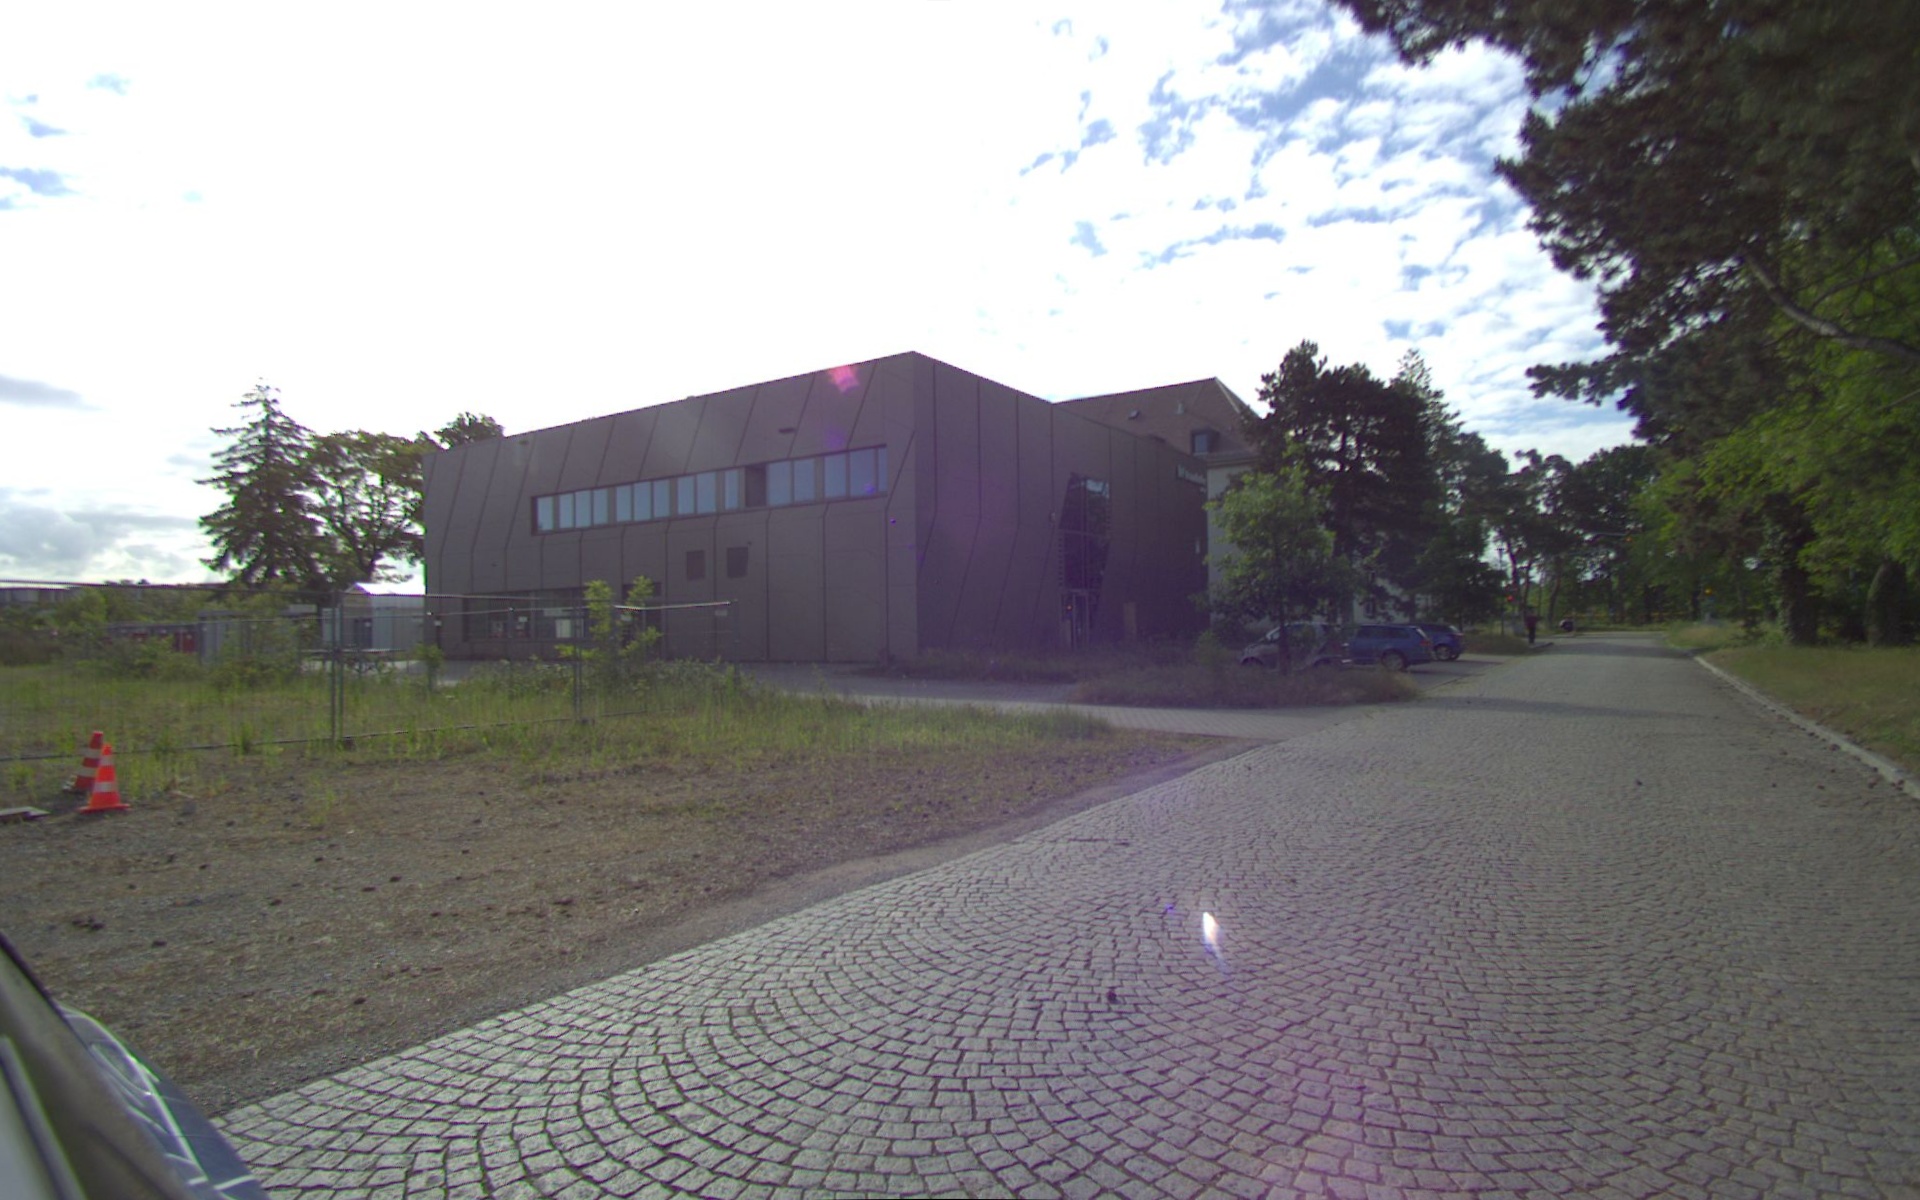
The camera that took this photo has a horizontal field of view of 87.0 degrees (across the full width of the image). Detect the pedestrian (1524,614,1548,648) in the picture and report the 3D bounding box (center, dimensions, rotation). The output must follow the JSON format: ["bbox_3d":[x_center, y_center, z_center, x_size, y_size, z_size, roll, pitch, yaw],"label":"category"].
[{"bbox_3d":[31.900,1.717,56.047,0.952,1.858,0.949,-2,-2,20],"label":"pedestrian"}]

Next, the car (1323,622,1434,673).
[{"bbox_3d":[13.127,1.447,31.752,3.081,1.468,1.477,0,-1,30],"label":"car"}]

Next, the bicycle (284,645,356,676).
[{"bbox_3d":[-23.653,2.231,37.445,0.943,1.052,2.047,-2,-2,32],"label":"bicycle"}]

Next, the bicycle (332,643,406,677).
[{"bbox_3d":[-20.797,2.094,35.657,0.943,1.095,2.047,-2,-2,32],"label":"bicycle"}]

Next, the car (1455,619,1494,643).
[{"bbox_3d":[37.281,2.234,73.303,1.995,1.630,3.954,-3,-2,34],"label":"car"}]

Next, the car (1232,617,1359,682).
[{"bbox_3d":[8.618,1.266,26.072,2.765,1.561,1.407,-3,-2,38],"label":"car"}]

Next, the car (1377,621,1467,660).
[{"bbox_3d":[18.045,1.588,39.530,3.080,1.461,1.477,-2,-2,28],"label":"car"}]

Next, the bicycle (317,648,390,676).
[{"bbox_3d":[-21.800,2.214,36.401,0.943,0.928,2.047,-2,-2,32],"label":"bicycle"}]

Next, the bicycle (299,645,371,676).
[{"bbox_3d":[-22.718,2.177,36.834,0.943,1.052,2.047,-2,-2,32],"label":"bicycle"}]

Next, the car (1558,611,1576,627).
[{"bbox_3d":[76.218,2.398,127.014,1.699,2.029,3.954,-2,-2,34],"label":"car"}]
